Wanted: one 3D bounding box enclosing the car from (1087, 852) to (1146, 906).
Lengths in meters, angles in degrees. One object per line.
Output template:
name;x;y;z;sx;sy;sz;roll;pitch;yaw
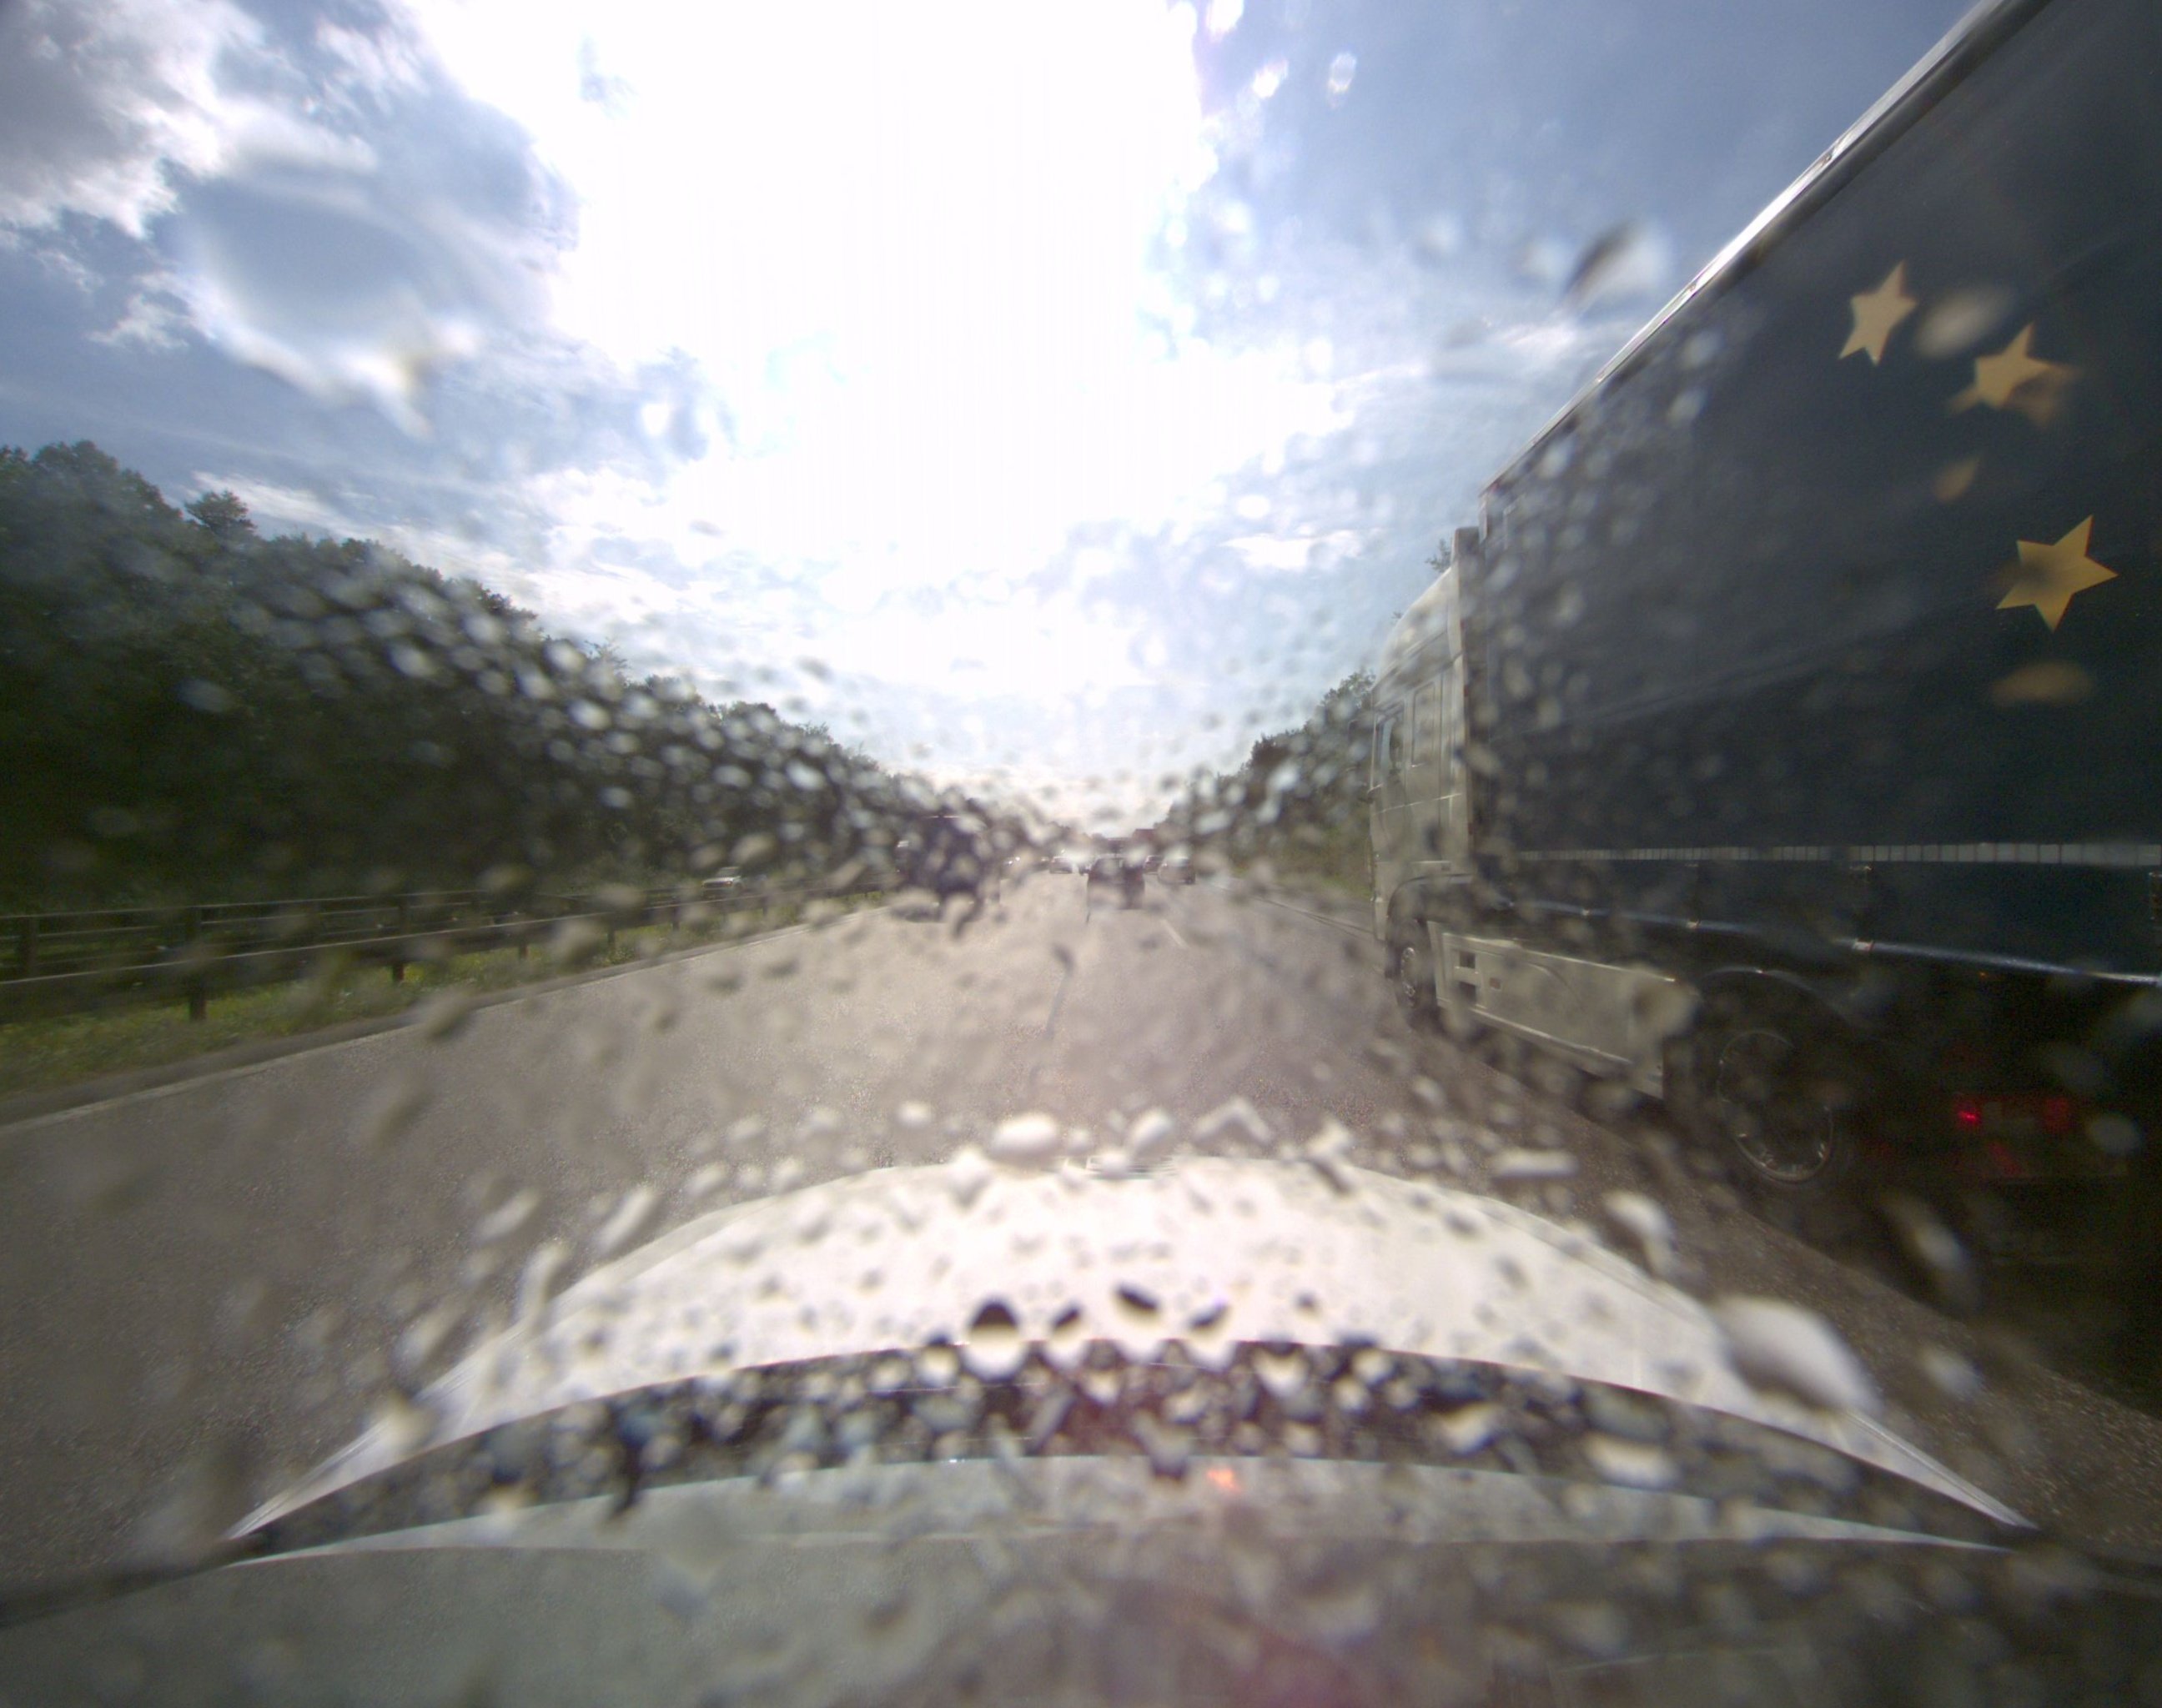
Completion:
car;1.077;0.737;25.544;1.711;1.568;3.486;0;0;1

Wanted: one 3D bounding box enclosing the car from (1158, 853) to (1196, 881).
car;5.115;0.701;43.871;1.686;1.425;4.221;0;0;1

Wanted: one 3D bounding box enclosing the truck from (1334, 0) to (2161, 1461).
truck;3.928;-0.541;4.959;2.597;3.996;7.291;-1;0;1

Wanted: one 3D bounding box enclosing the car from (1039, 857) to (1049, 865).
car;-7.418;1.447;164.215;1.725;1.663;4.237;0;0;1

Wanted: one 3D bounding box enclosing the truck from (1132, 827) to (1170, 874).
truck;7.522;-0.293;89.758;3.634;4.720;16.793;0;0;3

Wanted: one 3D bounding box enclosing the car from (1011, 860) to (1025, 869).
car;-11.962;2.024;154.561;2.009;1.663;4.700;0;0;1

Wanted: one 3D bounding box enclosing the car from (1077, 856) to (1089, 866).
car;0.285;1.025;119.359;1.745;1.457;3.391;0;0;1

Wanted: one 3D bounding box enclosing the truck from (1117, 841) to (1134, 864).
truck;9.102;-0.277;165.228;3.242;4.479;12.431;0;0;3

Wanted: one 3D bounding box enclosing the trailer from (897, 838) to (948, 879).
trailer;-18.422;0.545;95.989;2.852;4.373;14.097;0;0;2

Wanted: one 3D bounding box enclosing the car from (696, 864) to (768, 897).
car;-18.931;1.390;44.407;1.822;1.663;4.632;0;0;2

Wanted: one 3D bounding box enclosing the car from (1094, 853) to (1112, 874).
car;1.951;0.805;70.914;1.526;1.746;3.486;0;0;1

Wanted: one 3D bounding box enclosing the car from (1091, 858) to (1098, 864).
car;2.901;1.501;172.461;1.479;1.390;3.199;0;0;1

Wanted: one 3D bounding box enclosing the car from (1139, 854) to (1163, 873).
car;5.553;0.768;65.213;1.674;1.442;3.906;0;0;1

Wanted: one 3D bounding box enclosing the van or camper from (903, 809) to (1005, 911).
van or camper;-3.591;0.183;24.089;1.986;2.669;5.386;0;0;2

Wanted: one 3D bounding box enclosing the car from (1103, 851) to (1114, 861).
car;4.079;0.291;120.304;1.547;1.383;3.211;0;0;1

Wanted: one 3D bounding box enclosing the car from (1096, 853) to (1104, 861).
car;5.176;0.684;216.779;1.986;2.013;4.002;-2;0;2

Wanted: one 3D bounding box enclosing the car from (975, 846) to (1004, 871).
car;-9.474;0.445;84.309;2.175;2.452;5.750;0;0;2

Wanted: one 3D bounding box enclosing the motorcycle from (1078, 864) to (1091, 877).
motorcycle;0.263;1.266;62.995;0.887;1.000;2.897;0;0;2

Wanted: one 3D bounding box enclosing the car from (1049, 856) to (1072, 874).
car;-1.821;0.995;72.435;1.848;1.551;3.486;0;0;1

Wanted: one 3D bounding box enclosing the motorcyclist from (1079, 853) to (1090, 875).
motorcyclist;0.273;0.782;62.955;0.799;1.633;1.013;0;-1;1

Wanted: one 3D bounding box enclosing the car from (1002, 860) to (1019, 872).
car;-9.727;1.658;112.395;1.831;1.663;4.442;0;0;1

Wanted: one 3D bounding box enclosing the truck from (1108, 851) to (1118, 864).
truck;6.914;0.768;177.726;2.184;2.875;4.851;0;0;1

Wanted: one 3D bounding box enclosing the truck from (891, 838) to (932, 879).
truck;-18.581;0.508;89.578;2.852;4.373;6.870;0;0;1
